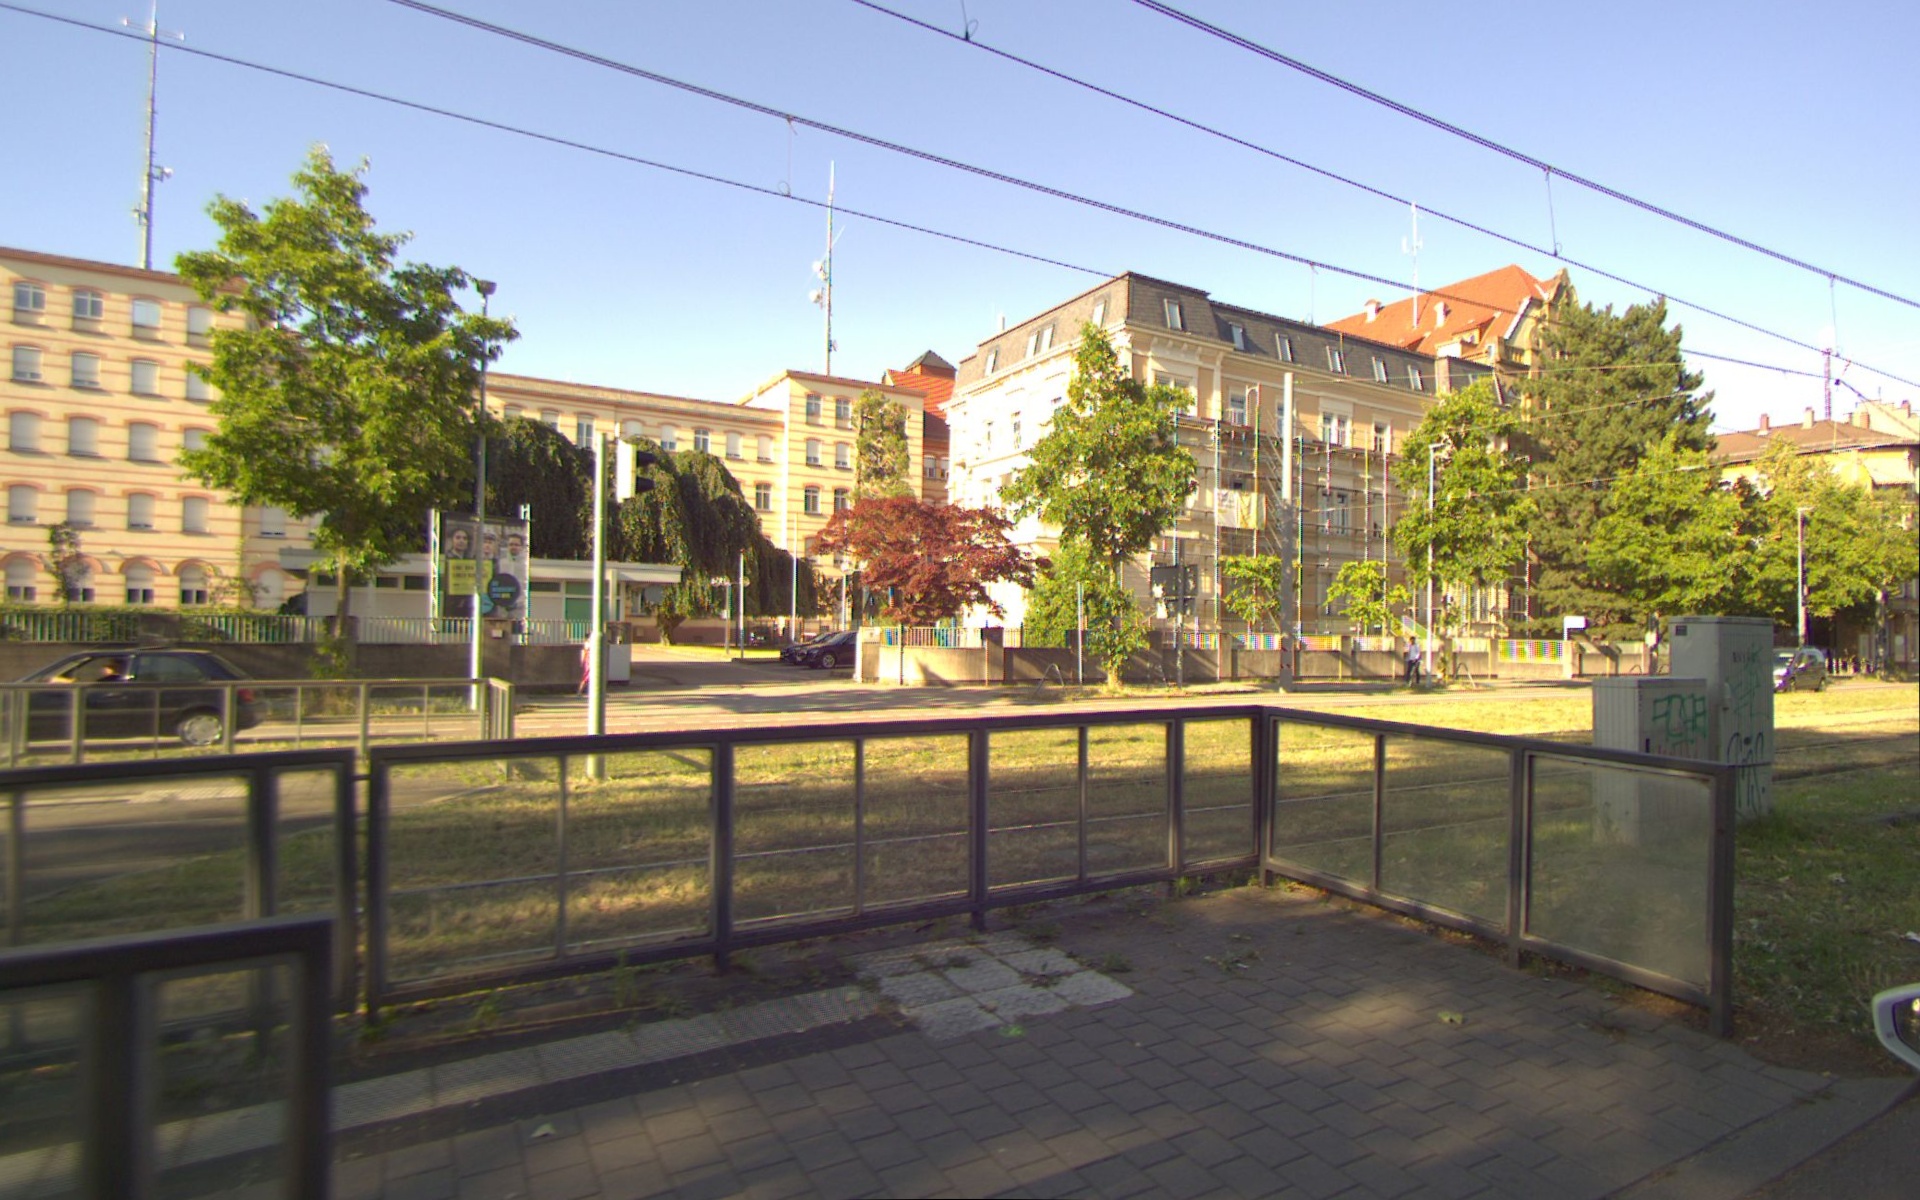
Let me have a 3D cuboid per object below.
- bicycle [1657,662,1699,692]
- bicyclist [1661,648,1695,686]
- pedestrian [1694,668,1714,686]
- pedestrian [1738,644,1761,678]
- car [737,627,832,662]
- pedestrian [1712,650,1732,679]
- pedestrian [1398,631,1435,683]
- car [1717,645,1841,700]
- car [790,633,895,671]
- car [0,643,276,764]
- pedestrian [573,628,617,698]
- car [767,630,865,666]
[{"bbox_3d":[29.981,3.203,41.932,1.735,1.209,0.771,2,0,-31],"label":"bicycle"},{"bbox_3d":[29.953,2.784,41.903,1.121,1.501,0.771,2,0,-31],"label":"bicyclist"},{"bbox_3d":[38.830,4.028,52.436,0.579,0.944,0.646,2,-3,-32],"label":"pedestrian"},{"bbox_3d":[41.565,3.220,52.880,0.878,1.798,0.646,2,-3,-32],"label":"pedestrian"},{"bbox_3d":[-7.743,1.995,44.466,3.806,1.426,1.598,2,0,-30],"label":"car"},{"bbox_3d":[41.690,3.518,54.958,0.774,1.559,0.646,2,-3,-32],"label":"pedestrian"},{"bbox_3d":[17.647,2.204,38.823,1.074,1.953,0.854,2,-3,-31],"label":"pedestrian"},{"bbox_3d":[31.781,2.804,38.960,4.411,1.944,1.933,3,0,-24],"label":"car"},{"bbox_3d":[-4.686,2.081,40.191,3.806,1.426,1.598,2,0,-30],"label":"car"},{"bbox_3d":[-11.686,1.346,13.643,3.806,1.426,1.598,2,0,-30],"label":"car"},{"bbox_3d":[-8.991,1.546,24.740,0.805,1.669,0.719,2,-3,-36],"label":"pedestrian"},{"bbox_3d":[-6.095,2.044,42.615,3.806,1.426,1.598,2,0,-30],"label":"car"}]
